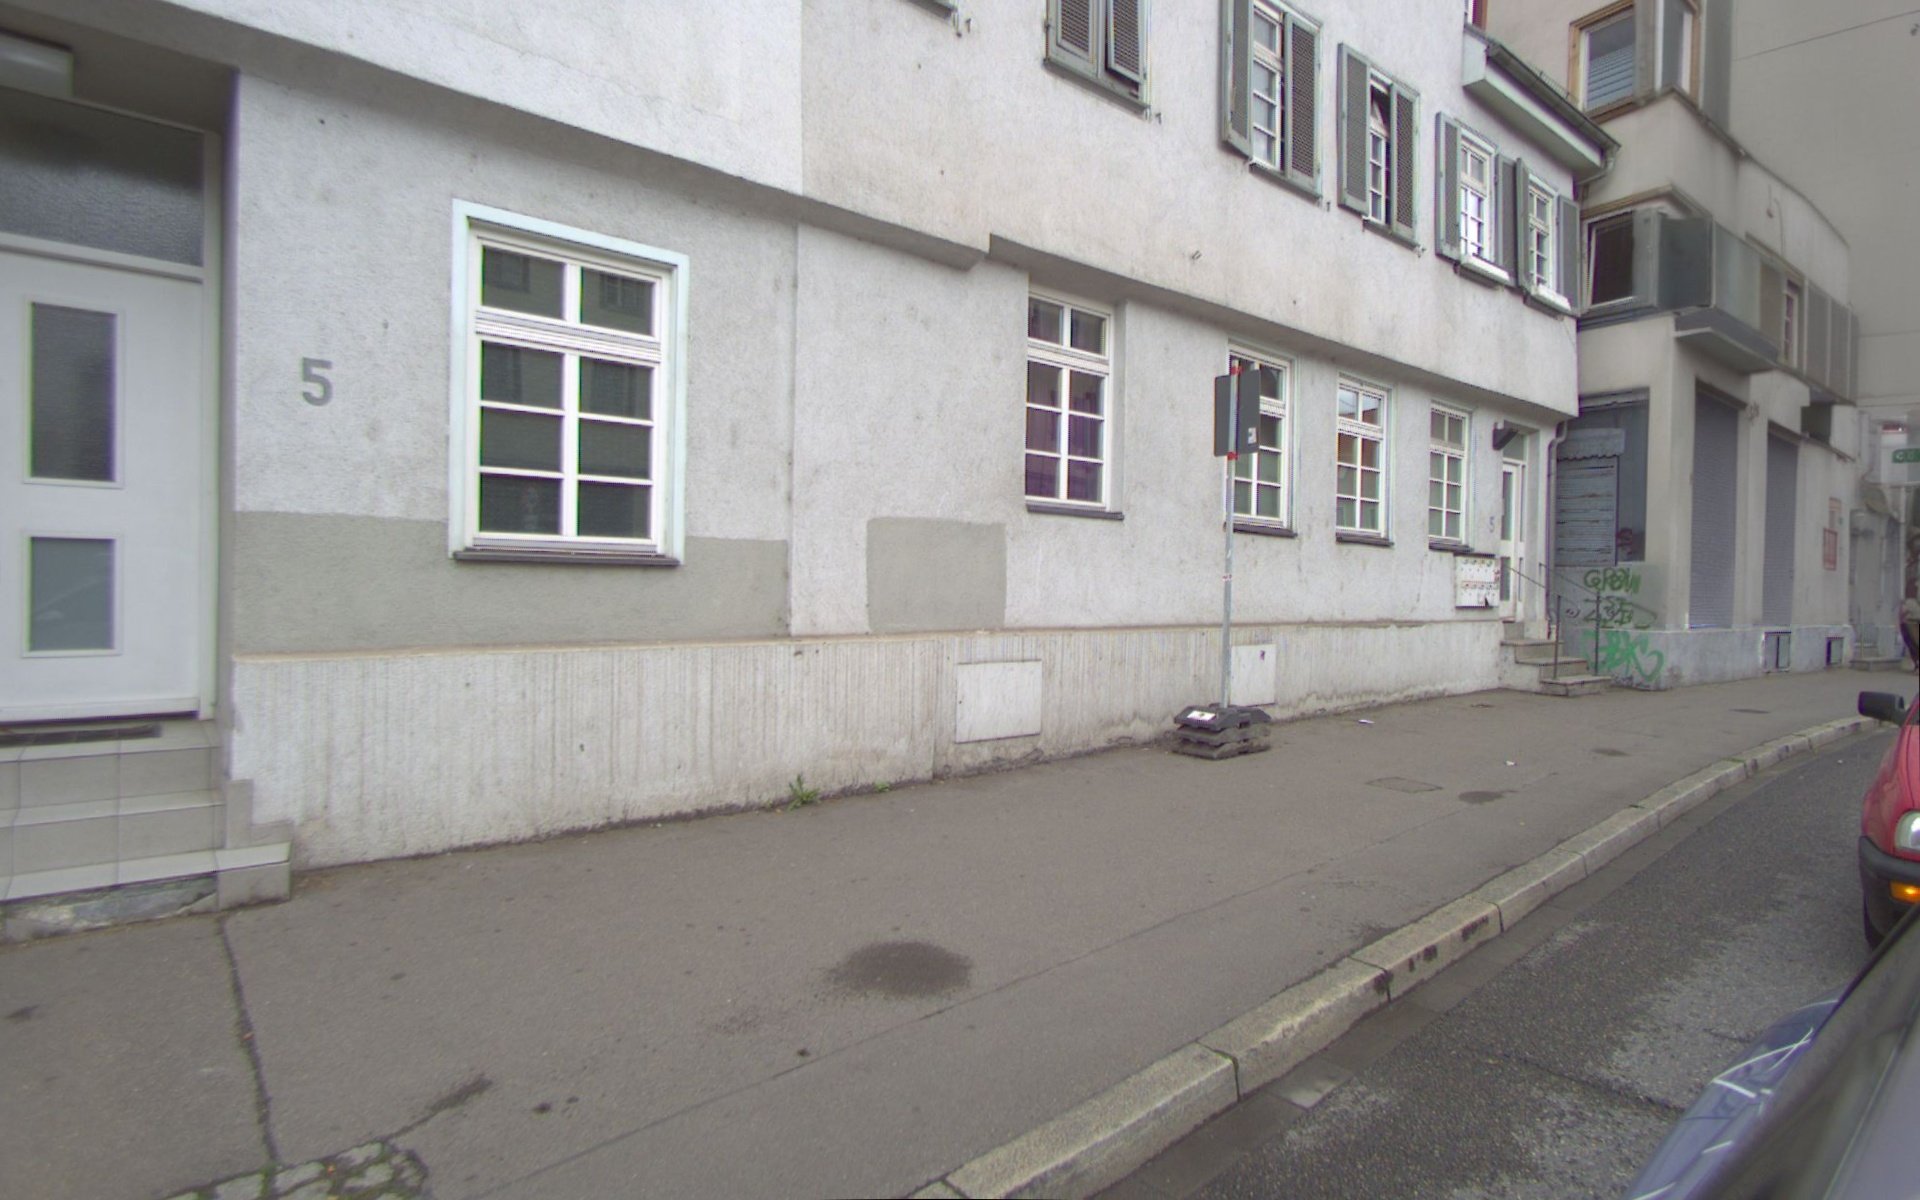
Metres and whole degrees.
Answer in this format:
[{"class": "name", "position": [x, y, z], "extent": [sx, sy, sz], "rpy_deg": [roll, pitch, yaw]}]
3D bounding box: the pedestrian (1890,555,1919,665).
[{"class": "pedestrian", "position": [15.221, 0.166, 15.775], "extent": [0.793, 1.687, 0.759], "rpy_deg": [1, 3, -30]}]

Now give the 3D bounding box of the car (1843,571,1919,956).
[{"class": "car", "position": [5.500, 0.640, 4.654], "extent": [3.952, 1.445, 1.684], "rpy_deg": [0, 1, -42]}]
